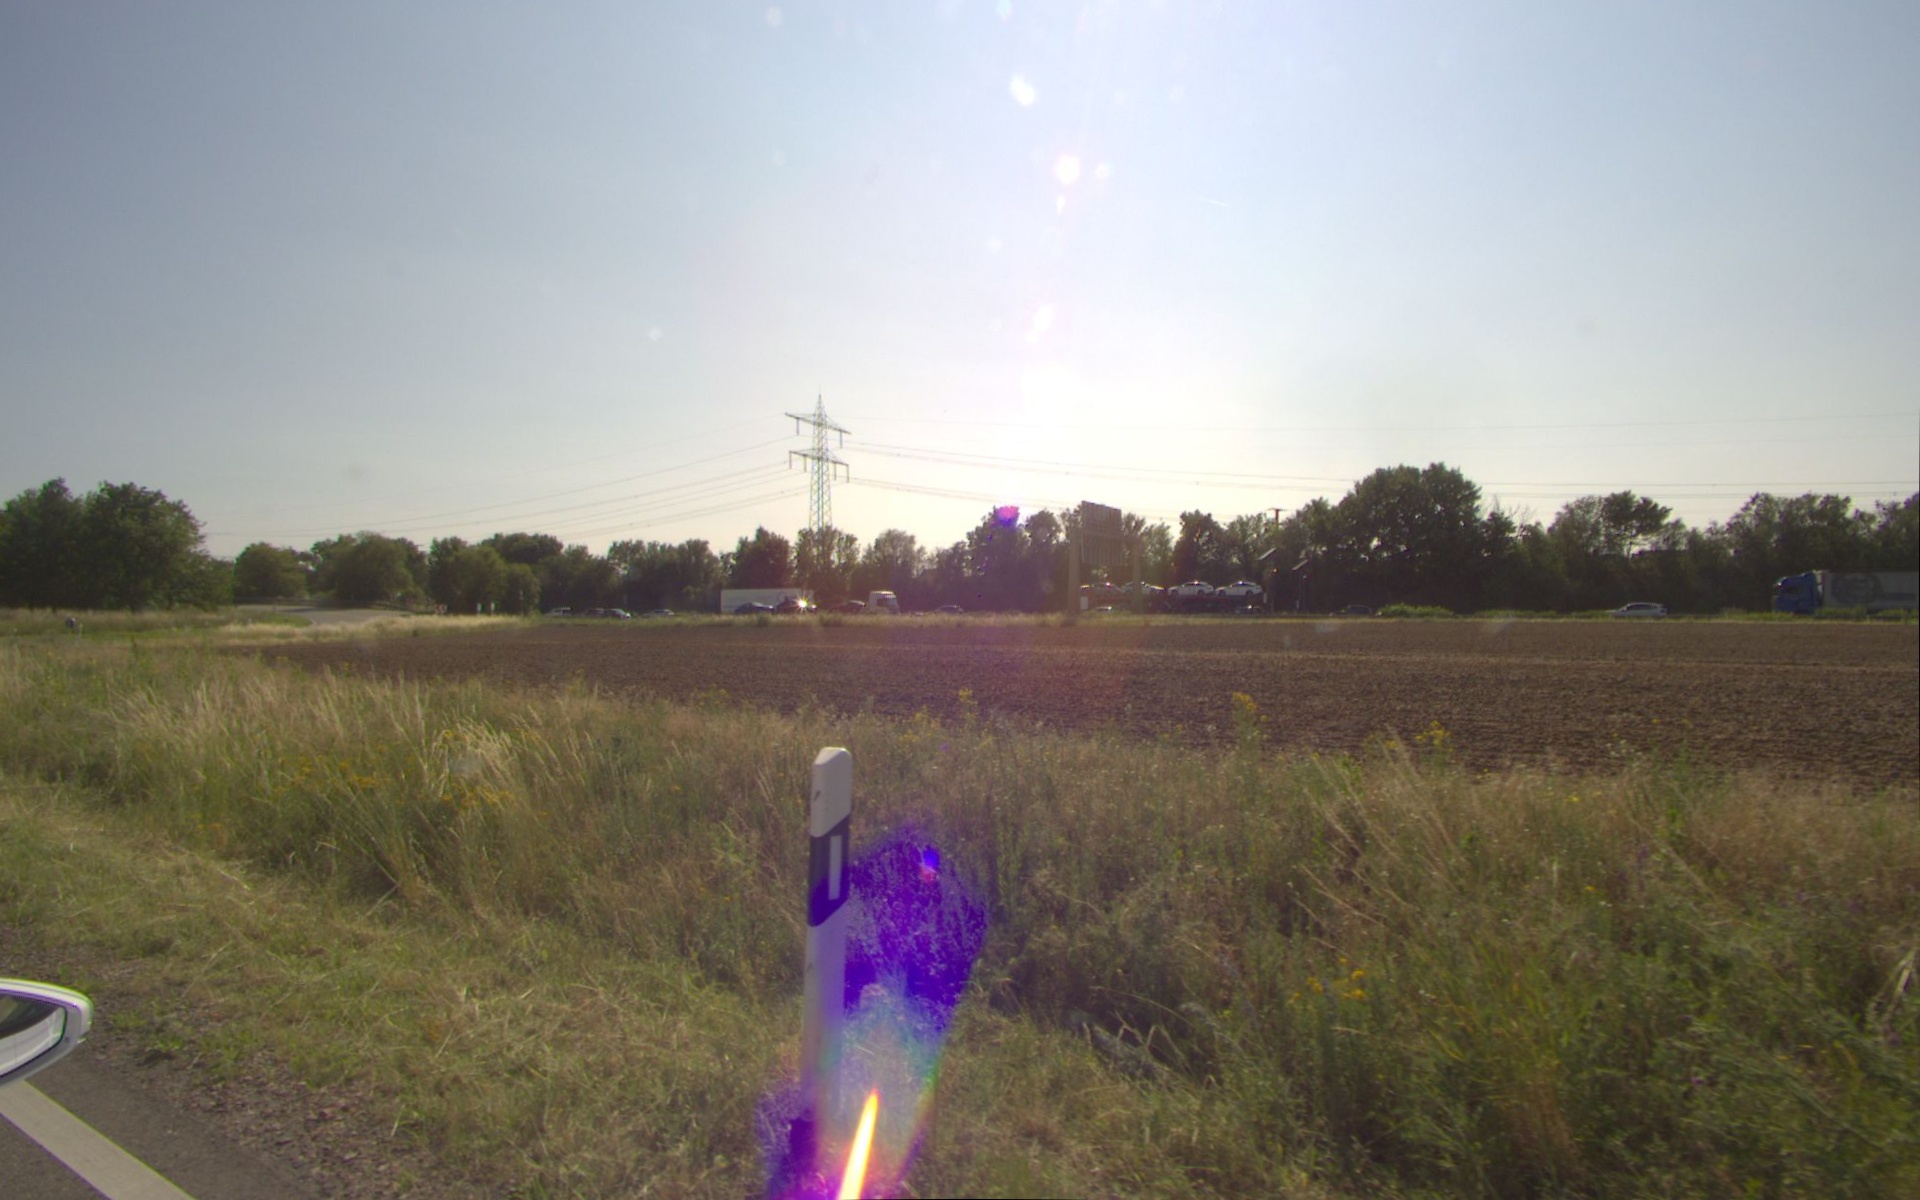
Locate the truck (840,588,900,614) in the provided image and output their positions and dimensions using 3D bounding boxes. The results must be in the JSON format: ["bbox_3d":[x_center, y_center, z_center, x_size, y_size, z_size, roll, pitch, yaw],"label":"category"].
[{"bbox_3d":[-8.854,0.077,98.466,5.451,2.565,2.509,0,1,29],"label":"truck"}]

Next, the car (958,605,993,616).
[{"bbox_3d":[1.636,1.143,106.839,3.526,1.166,1.394,0,-1,28],"label":"car"}]

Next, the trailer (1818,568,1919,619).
[{"bbox_3d":[72.479,-0.464,73.990,13.432,3.782,3.066,0,0,32],"label":"trailer"}]

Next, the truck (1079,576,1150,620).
[{"bbox_3d":[16.332,-0.231,105.854,6.603,4.512,3.417,0,1,28],"label":"truck"}]

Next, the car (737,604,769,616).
[{"bbox_3d":[-25.544,1.217,123.594,3.571,1.390,1.769,0,-2,31],"label":"car"}]

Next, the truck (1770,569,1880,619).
[{"bbox_3d":[66.829,-0.425,77.533,5.998,3.782,3.066,0,0,32],"label":"truck"}]

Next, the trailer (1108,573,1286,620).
[{"bbox_3d":[23.861,-0.294,101.745,17.293,4.512,3.417,0,1,29],"label":"trailer"}]

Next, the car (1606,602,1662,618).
[{"bbox_3d":[52.173,0.761,77.572,3.528,1.166,1.393,0,-1,31],"label":"car"}]

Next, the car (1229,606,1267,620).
[{"bbox_3d":[26.454,1.192,92.004,3.133,1.166,1.393,0,-1,30],"label":"car"}]

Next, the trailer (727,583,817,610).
[{"bbox_3d":[-24.486,-0.428,129.864,12.267,3.311,3.280,0,1,29],"label":"trailer"}]

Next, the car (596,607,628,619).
[{"bbox_3d":[-42.529,1.564,122.300,3.571,1.390,1.769,0,-2,31],"label":"car"}]

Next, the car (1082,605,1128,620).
[{"bbox_3d":[14.437,1.199,99.647,4.184,1.403,1.848,0,-1,30],"label":"car"}]

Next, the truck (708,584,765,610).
[{"bbox_3d":[-29.613,-0.386,132.724,6.873,3.311,3.280,0,1,29],"label":"truck"}]

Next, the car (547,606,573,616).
[{"bbox_3d":[-58.818,1.565,147.142,3.571,1.390,1.769,0,-2,31],"label":"car"}]

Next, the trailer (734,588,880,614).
[{"bbox_3d":[-15.910,0.080,102.416,16.824,2.565,2.509,0,1,29],"label":"trailer"}]
